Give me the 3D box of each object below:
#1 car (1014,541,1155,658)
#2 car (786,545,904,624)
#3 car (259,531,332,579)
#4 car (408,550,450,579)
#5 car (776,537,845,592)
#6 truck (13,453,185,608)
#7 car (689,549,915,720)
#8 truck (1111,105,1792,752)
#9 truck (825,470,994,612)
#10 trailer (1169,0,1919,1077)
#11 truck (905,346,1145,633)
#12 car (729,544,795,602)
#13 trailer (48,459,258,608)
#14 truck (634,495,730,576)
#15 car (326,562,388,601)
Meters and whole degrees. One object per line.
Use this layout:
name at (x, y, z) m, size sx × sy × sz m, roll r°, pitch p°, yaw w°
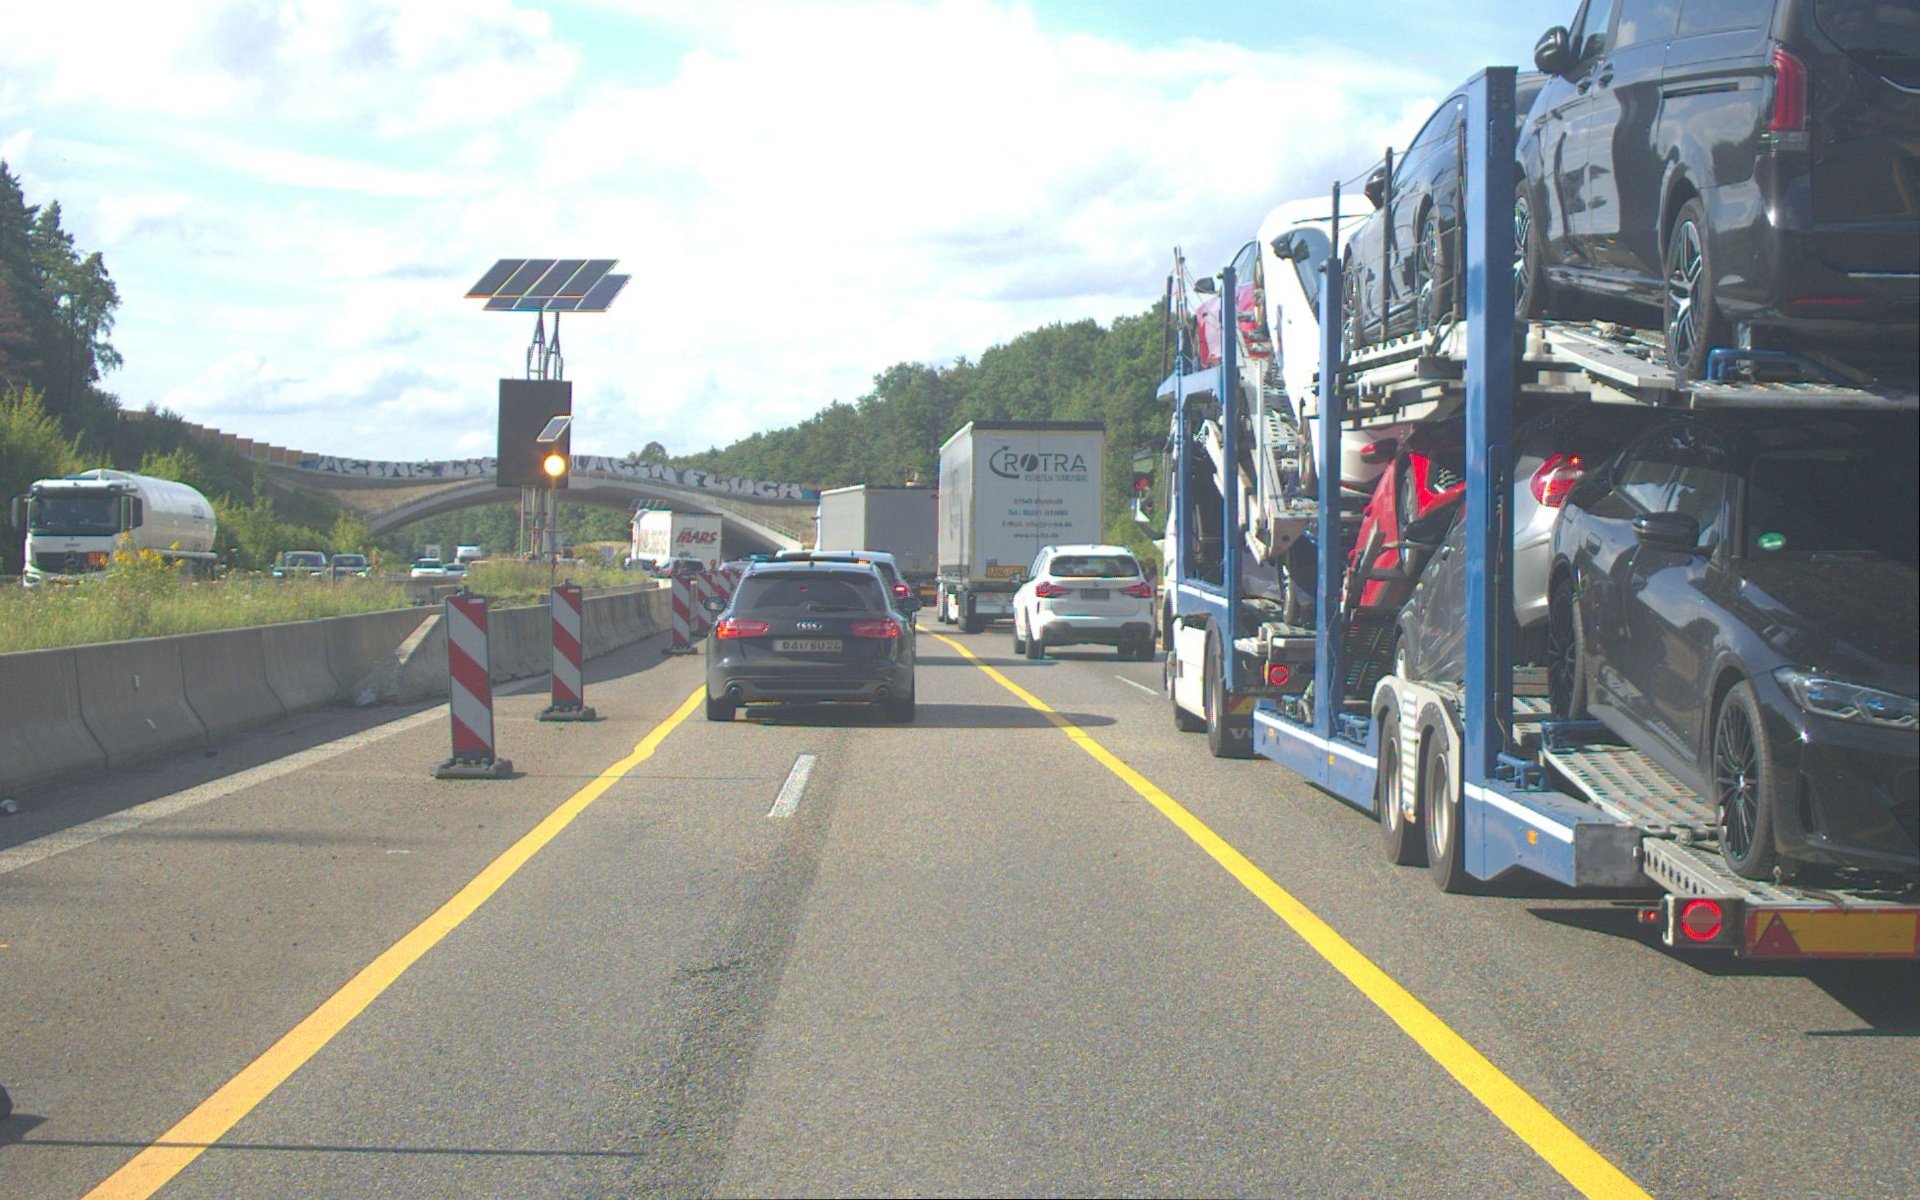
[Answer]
car at (1.796, -0.033, 50.879) m, size 1.890 × 1.638 × 4.018 m, roll 1°, pitch 1°, yaw 0°
car at (-2.220, -0.310, 65.427) m, size 1.890 × 1.441 × 4.001 m, roll 1°, pitch 1°, yaw -7°
car at (-22.974, -1.544, 118.962) m, size 1.778 × 1.597 × 4.018 m, roll 1°, pitch 1°, yaw 0°
car at (-29.786, -1.983, 192.863) m, size 1.778 × 1.597 × 4.018 m, roll 1°, pitch 1°, yaw 0°
car at (-4.605, -1.092, 105.519) m, size 1.890 × 1.638 × 4.018 m, roll 1°, pitch 1°, yaw -6°
truck at (-20.140, -1.607, 80.635) m, size 2.785 × 3.478 × 4.939 m, roll 1°, pitch 1°, yaw 0°
car at (-1.384, 0.273, 31.536) m, size 1.890 × 1.441 × 4.000 m, roll 1°, pitch 1°, yaw 0°
truck at (3.400, -1.158, 26.506) m, size 3.761 × 4.182 × 7.952 m, roll 1°, pitch 1°, yaw -2°
truck at (-1.865, -1.991, 118.037) m, size 4.318 × 4.584 × 11.127 m, roll 1°, pitch 1°, yaw -8°
trailer at (3.796, -0.798, 17.939) m, size 3.726 × 4.182 × 16.229 m, roll 1°, pitch 1°, yaw -2°
truck at (1.098, -2.167, 72.912) m, size 3.677 × 5.335 × 16.203 m, roll 1°, pitch 1°, yaw -4°
car at (-7.040, -0.969, 121.869) m, size 1.993 × 2.007 × 4.001 m, roll 1°, pitch 1°, yaw -8°
trailer at (-20.201, -1.638, 86.782) m, size 2.802 × 3.478 × 11.113 m, roll 1°, pitch 1°, yaw -1°
truck at (-14.112, -3.231, 173.699) m, size 3.653 × 3.915 × 11.070 m, roll 1°, pitch 1°, yaw -11°
car at (-25.359, -0.781, 144.760) m, size 1.958 × 1.583 × 4.483 m, roll 1°, pitch 1°, yaw -2°
